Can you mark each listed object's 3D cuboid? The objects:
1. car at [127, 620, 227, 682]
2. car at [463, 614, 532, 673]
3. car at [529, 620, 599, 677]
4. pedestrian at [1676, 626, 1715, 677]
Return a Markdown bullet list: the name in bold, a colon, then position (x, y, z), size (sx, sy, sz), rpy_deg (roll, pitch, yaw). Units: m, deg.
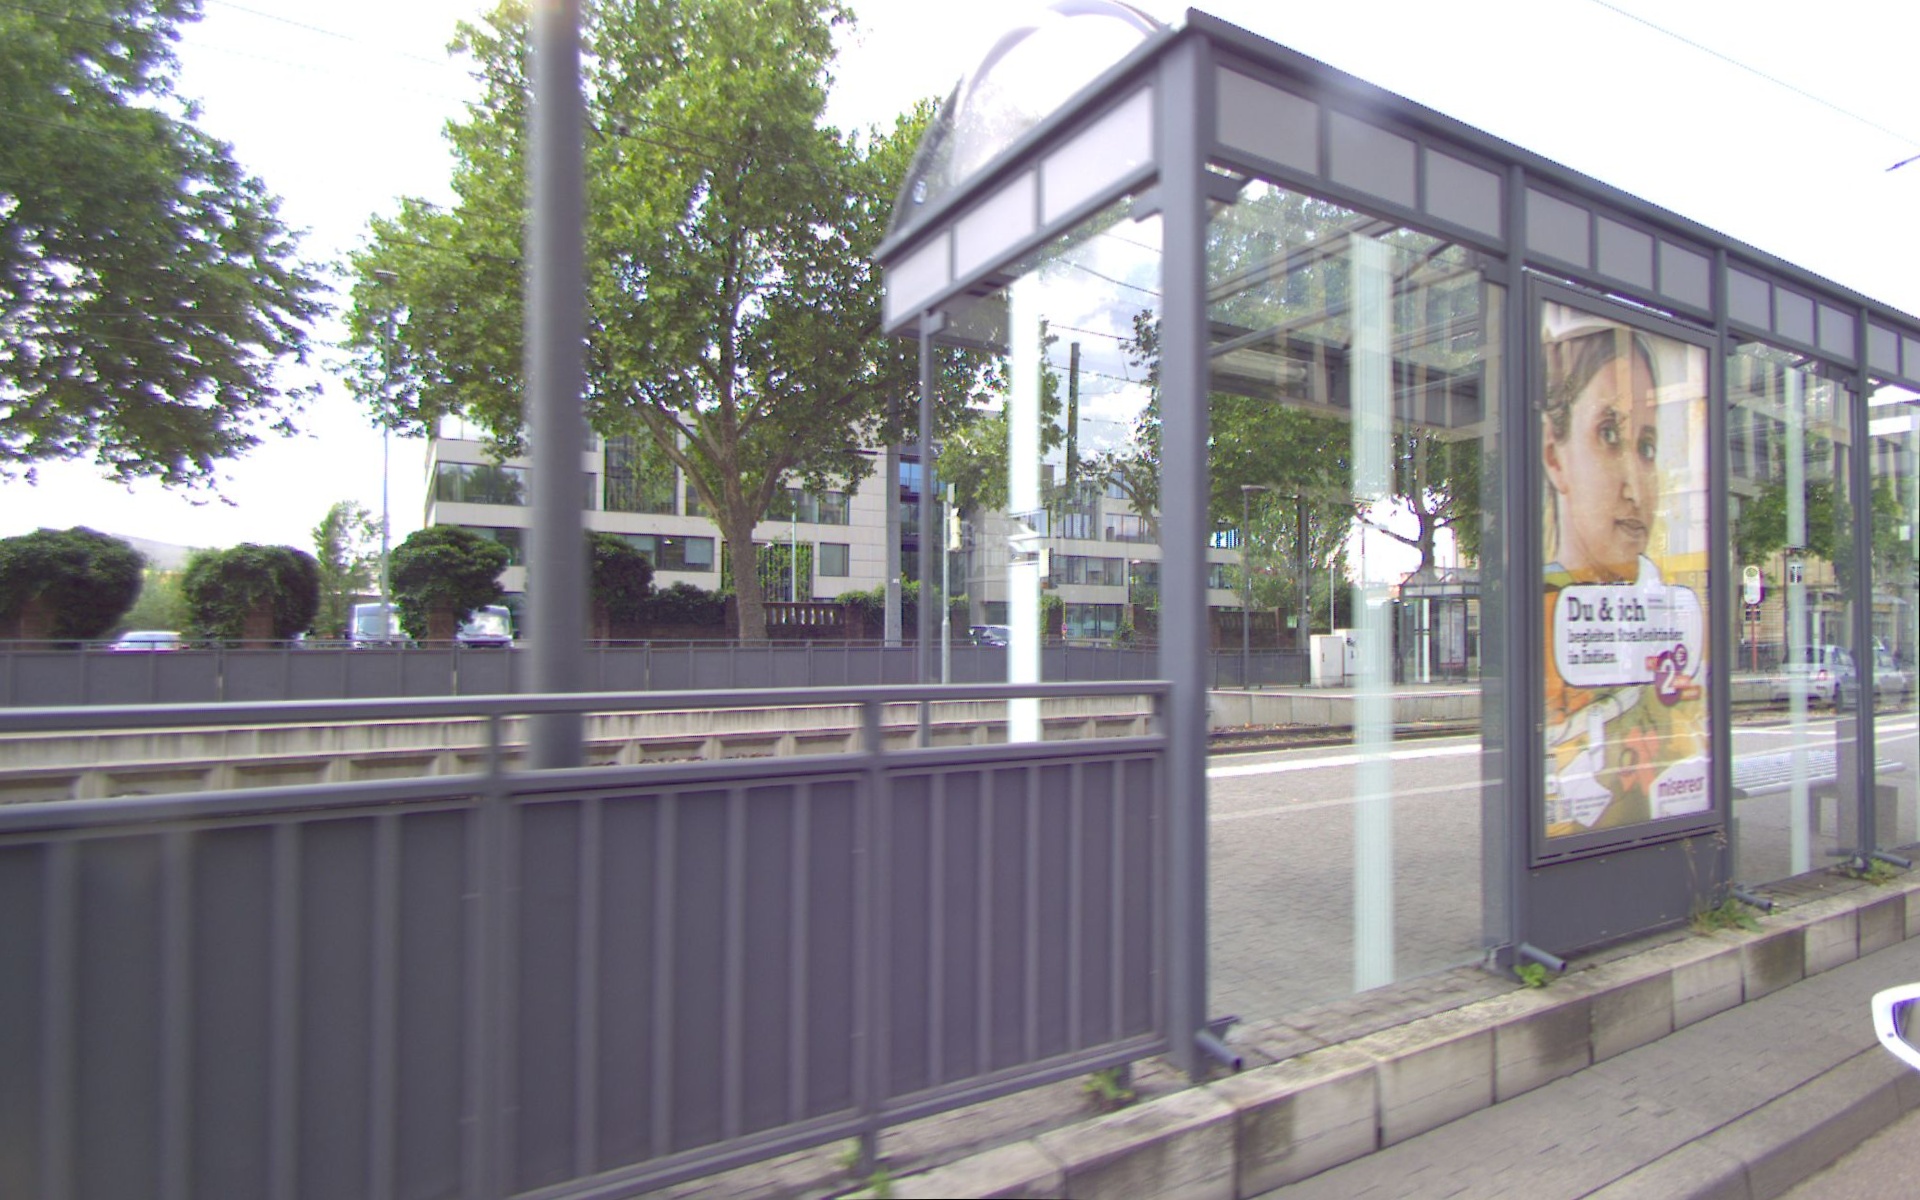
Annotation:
- **car**: position (-24.642, 1.635, 31.751), size (1.878, 1.819, 4.119), rpy_deg (1, -4, -30)
- **car**: position (-17.154, 1.646, 37.171), size (1.937, 2.060, 4.119), rpy_deg (1, -4, -30)
- **car**: position (-15.165, 1.882, 38.343), size (1.937, 2.060, 4.119), rpy_deg (1, -4, -30)
- **pedestrian**: position (22.611, 1.584, 30.885), size (0.795, 1.532, 0.697), rpy_deg (1, -3, -34)
